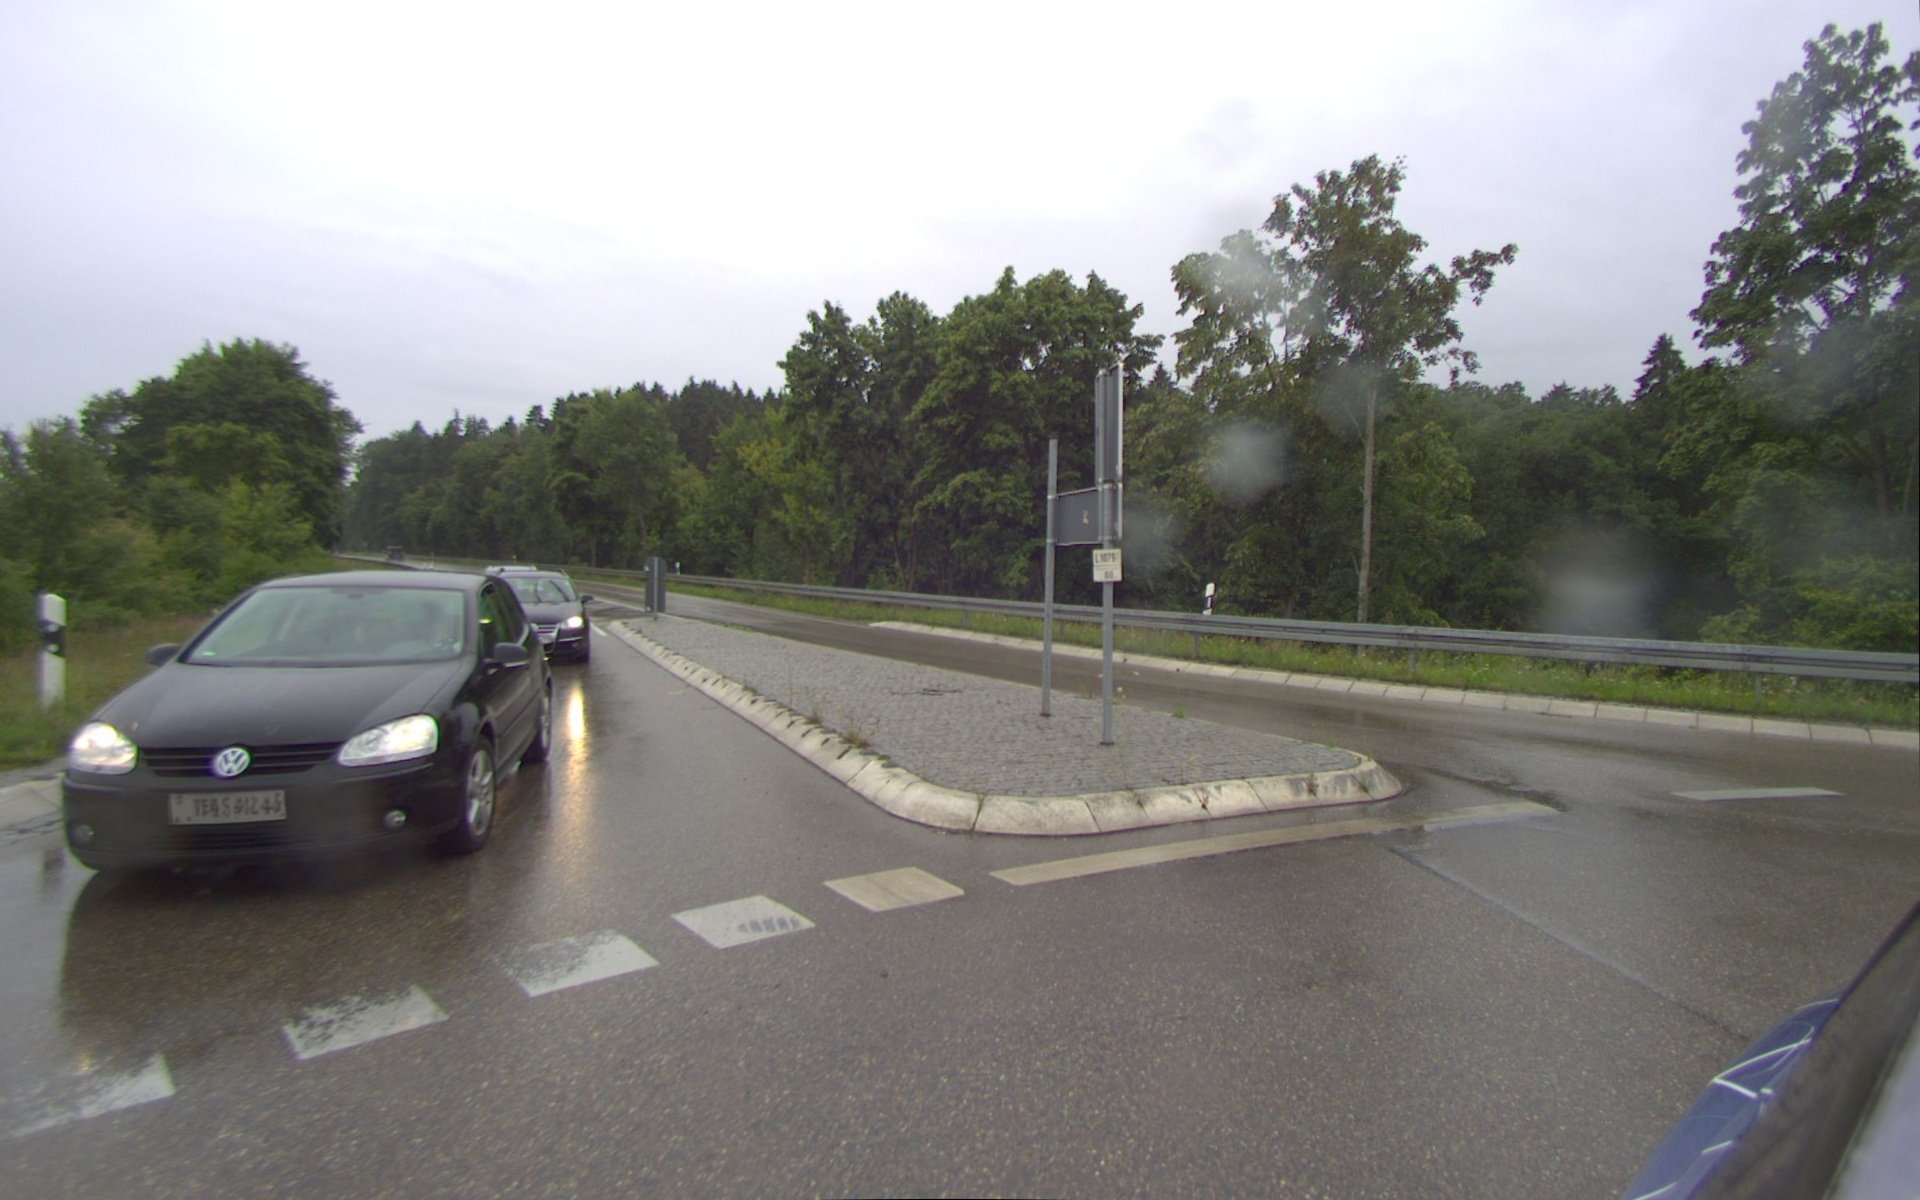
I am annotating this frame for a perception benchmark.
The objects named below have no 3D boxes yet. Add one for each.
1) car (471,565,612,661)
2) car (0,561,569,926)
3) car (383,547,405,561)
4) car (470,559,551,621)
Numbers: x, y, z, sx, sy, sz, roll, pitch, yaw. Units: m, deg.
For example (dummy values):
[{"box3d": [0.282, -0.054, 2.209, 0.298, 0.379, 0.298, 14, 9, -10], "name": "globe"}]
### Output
[{"box3d": [-7.090, 0.164, 17.083, 1.909, 1.388, 4.512, 1, 1, -24], "name": "car"}, {"box3d": [-3.662, 0.545, 6.376, 1.835, 1.439, 4.513, 1, 1, -16], "name": "car"}, {"box3d": [-74.748, -6.058, 133.626, 1.963, 1.594, 4.000, 0, 4, -37], "name": "car"}, {"box3d": [-11.552, -0.264, 25.942, 1.728, 1.439, 4.512, 1, 1, -25], "name": "car"}]
